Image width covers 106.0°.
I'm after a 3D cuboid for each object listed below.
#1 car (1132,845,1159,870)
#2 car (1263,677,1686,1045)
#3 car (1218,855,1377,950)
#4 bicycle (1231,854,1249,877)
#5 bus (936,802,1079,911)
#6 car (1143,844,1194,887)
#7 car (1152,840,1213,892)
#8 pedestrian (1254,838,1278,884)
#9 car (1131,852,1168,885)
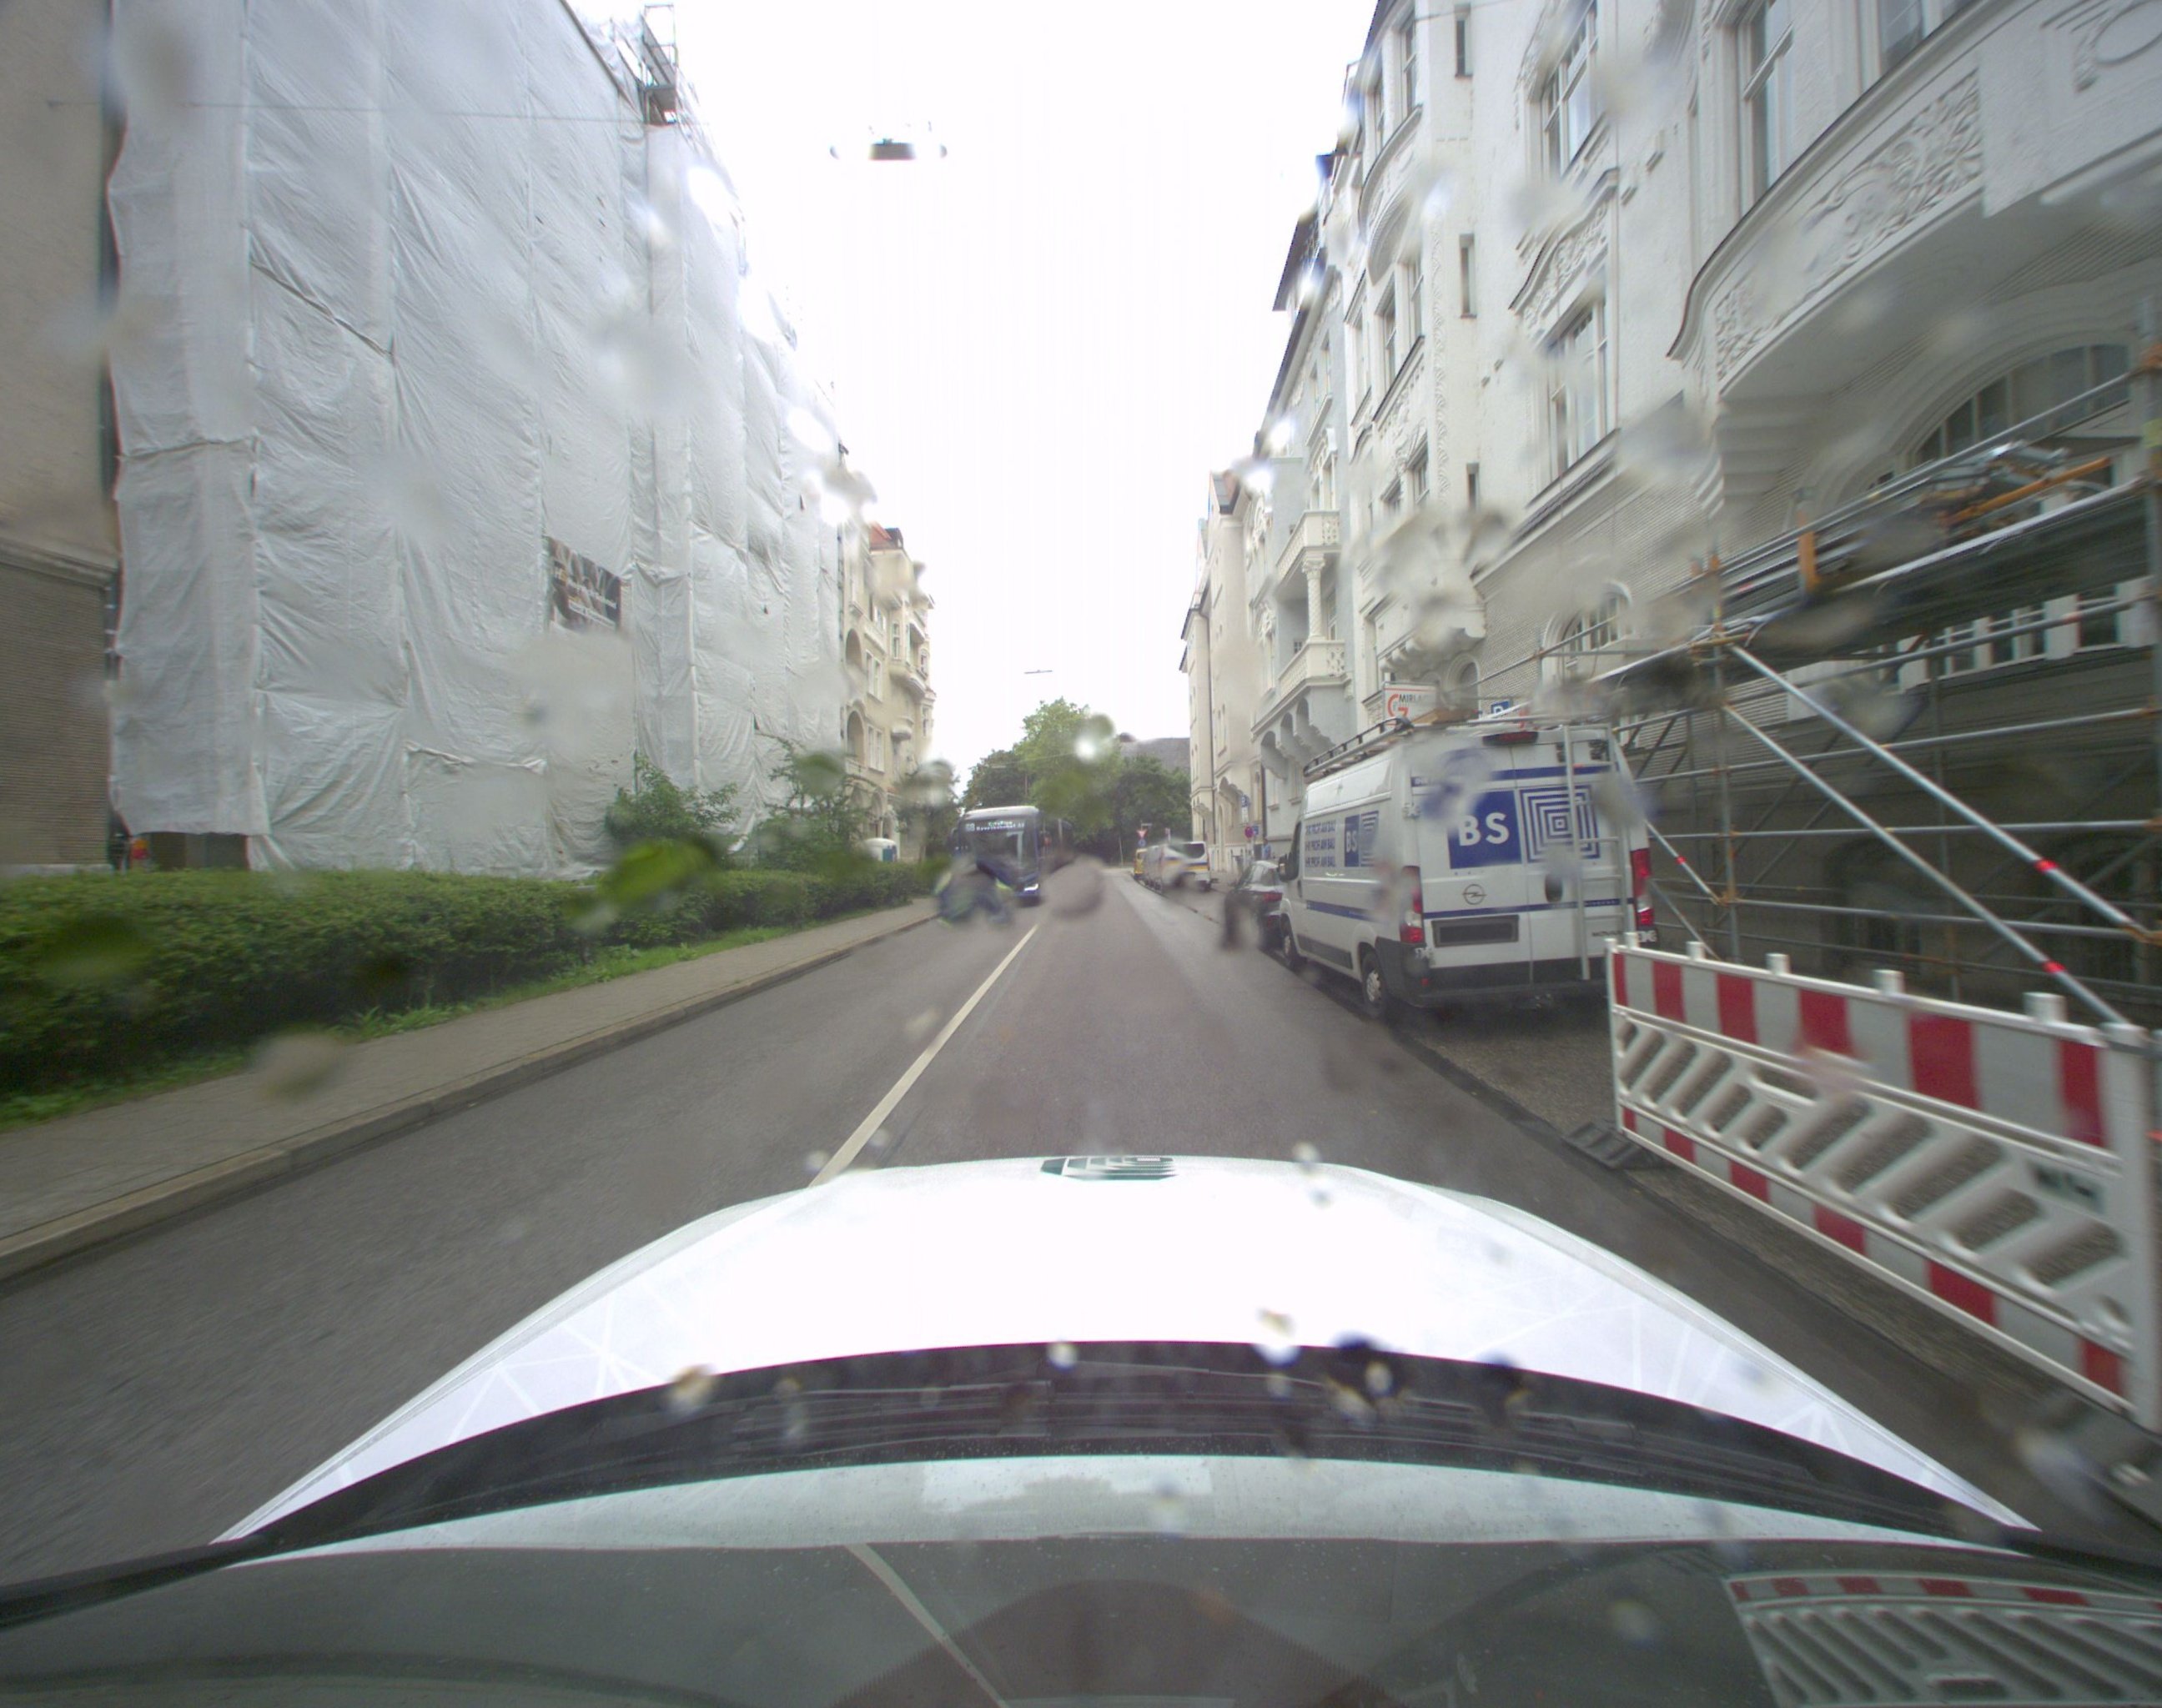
[{"bbox_3d":[5.437,0.306,69.424,1.931,1.922,5.375,-3,0,1],"label":"car"},{"bbox_3d":[3.587,0.061,8.911,2.069,2.688,5.448,-3,0,2],"label":"car"},{"bbox_3d":[3.697,0.753,14.686,1.781,1.407,4.245,-2,0,1],"label":"car"},{"bbox_3d":[8.440,0.602,43.253,0.663,1.133,1.723,-2,0,2],"label":"bicycle"},{"bbox_3d":[-2.309,0.088,34.318,3.158,3.212,18.073,-3,0,3],"label":"bus"},{"bbox_3d":[4.194,0.549,39.752,1.986,1.918,4.887,-2,0,1],"label":"car"},{"bbox_3d":[4.120,0.477,33.745,1.986,1.918,4.879,-2,0,1],"label":"car"},{"bbox_3d":[7.779,0.279,34.273,0.848,1.903,0.747,-2,-1,4],"label":"pedestrian"},{"bbox_3d":[4.239,0.869,50.841,1.986,1.918,4.572,-2,0,1],"label":"car"}]
